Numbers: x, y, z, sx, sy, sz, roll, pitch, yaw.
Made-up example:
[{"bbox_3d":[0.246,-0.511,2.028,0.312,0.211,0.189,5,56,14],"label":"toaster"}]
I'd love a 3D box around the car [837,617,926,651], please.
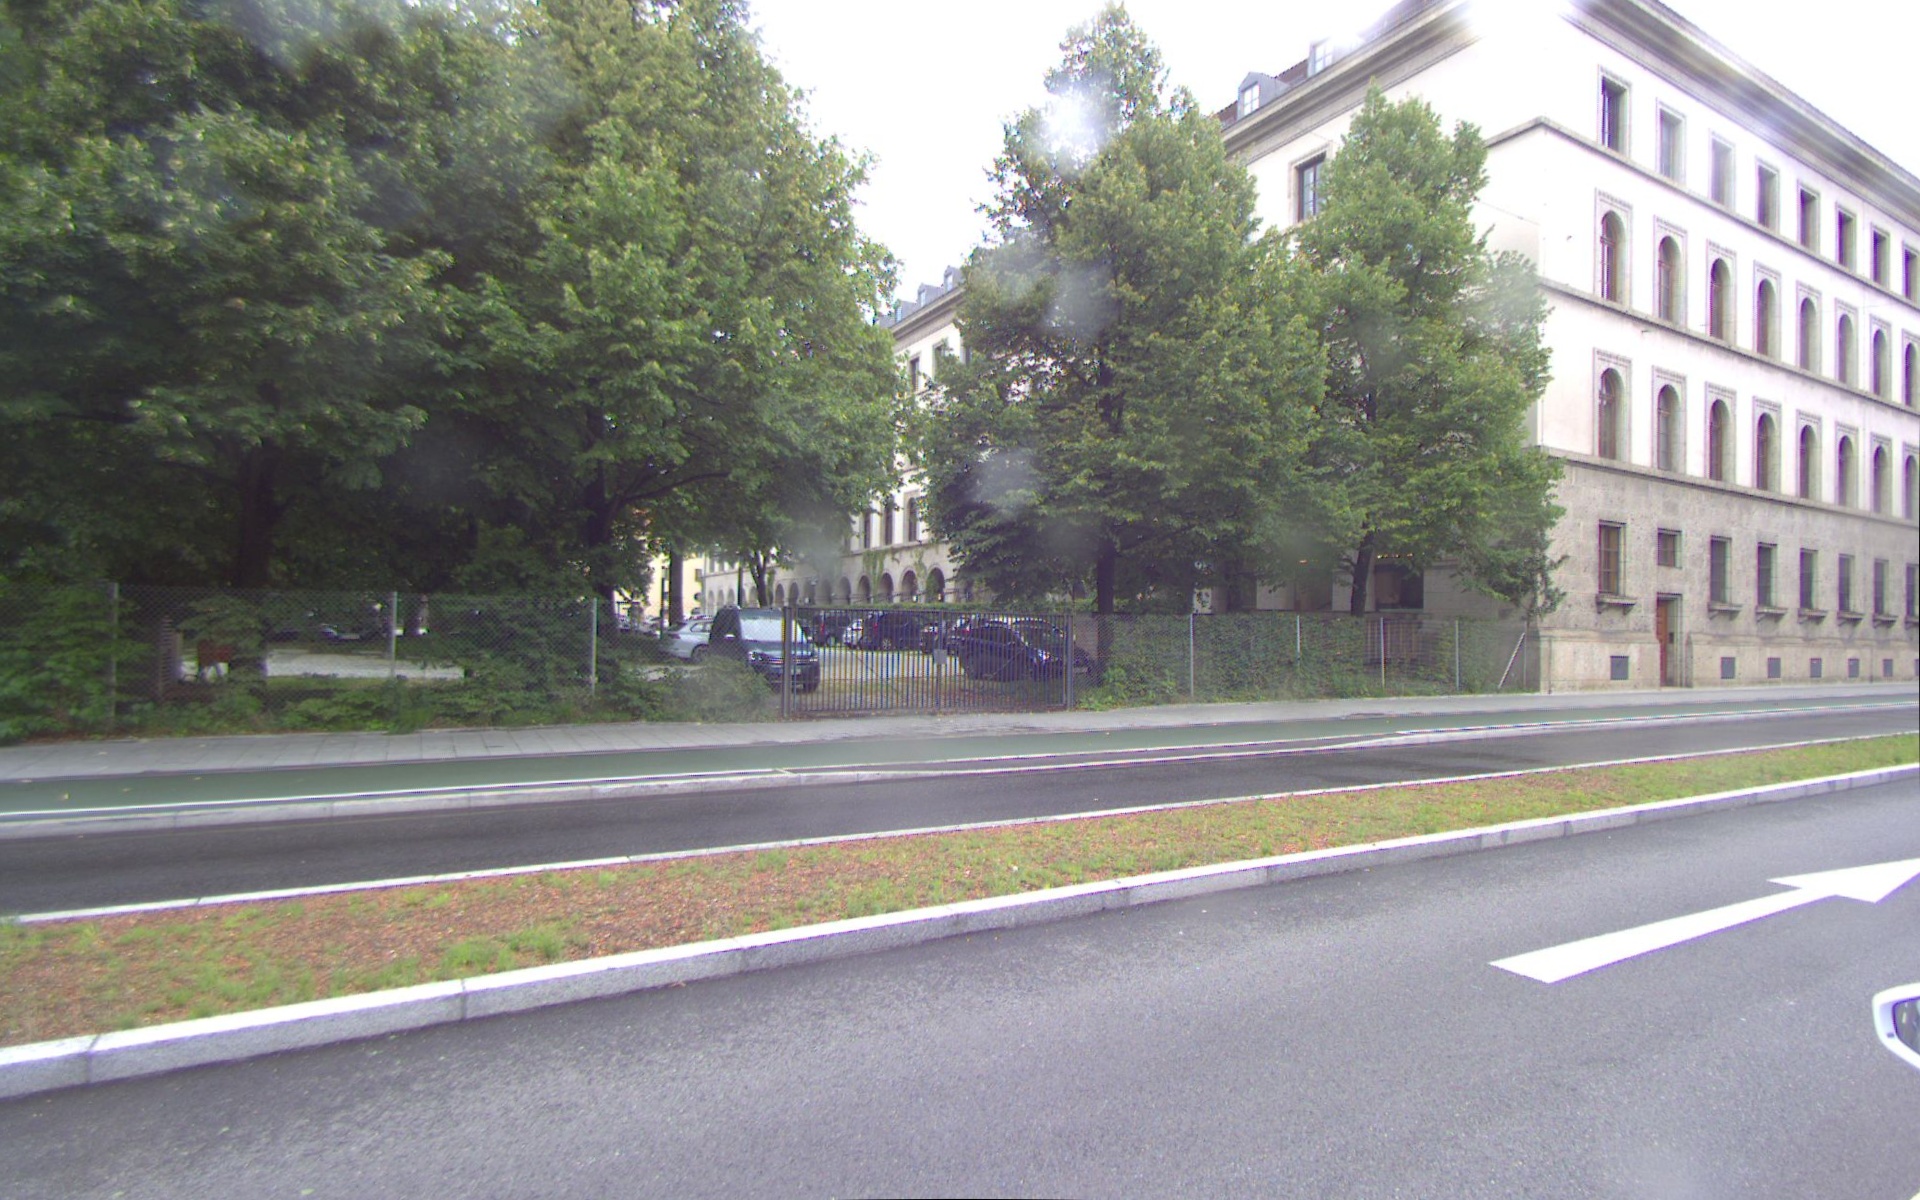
[{"bbox_3d":[-3.835,1.665,49.100,3.954,1.564,1.761,2,-1,-31],"label":"car"}]

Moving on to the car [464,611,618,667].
[{"bbox_3d":[-12.357,1.142,29.689,3.956,1.564,1.761,2,-2,-32],"label":"car"}]

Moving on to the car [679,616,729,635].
[{"bbox_3d":[-22.476,2.264,88.276,3.954,1.564,1.761,2,-1,-31],"label":"car"}]

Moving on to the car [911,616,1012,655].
[{"bbox_3d":[0.088,1.521,42.822,3.954,1.564,1.761,2,-1,-31],"label":"car"}]

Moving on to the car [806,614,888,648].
[{"bbox_3d":[-6.022,1.681,53.637,3.954,1.755,1.761,2,-1,-31],"label":"car"}]

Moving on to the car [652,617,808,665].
[{"bbox_3d":[-7.475,1.336,32.782,4.580,1.460,1.984,2,-2,-31],"label":"car"}]

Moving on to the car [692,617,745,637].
[{"bbox_3d":[-20.106,2.221,83.600,3.954,1.564,1.761,2,-1,-31],"label":"car"}]

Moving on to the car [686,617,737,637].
[{"bbox_3d":[-21.227,2.305,85.801,3.954,1.564,1.761,2,-1,-31],"label":"car"}]

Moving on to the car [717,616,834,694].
[{"bbox_3d":[-4.332,1.200,23.114,1.779,1.609,4.137,1,-2,-23],"label":"car"}]

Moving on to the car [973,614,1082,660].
[{"bbox_3d":[2.607,1.419,38.545,3.954,1.661,1.657,2,-1,-31],"label":"car"}]

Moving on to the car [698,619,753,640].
[{"bbox_3d":[-18.850,2.383,80.873,3.954,1.564,1.761,2,-1,-31],"label":"car"}]

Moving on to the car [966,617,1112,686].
[{"bbox_3d":[1.978,1.302,26.469,1.783,1.671,4.243,1,-2,-30],"label":"car"}]

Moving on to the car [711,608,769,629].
[{"bbox_3d":[-16.945,1.415,77.395,3.954,1.564,1.761,2,-1,-31],"label":"car"}]

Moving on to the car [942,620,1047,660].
[{"bbox_3d":[1.421,1.615,40.747,3.954,1.564,1.761,2,-1,-31],"label":"car"}]

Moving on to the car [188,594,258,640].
[{"bbox_3d":[-29.509,0.703,40.310,1.979,1.742,3.964,2,-2,-33],"label":"car"}]

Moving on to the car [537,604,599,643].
[{"bbox_3d":[-18.466,1.096,47.273,1.978,1.742,3.965,2,-2,-32],"label":"car"}]

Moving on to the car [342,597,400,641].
[{"bbox_3d":[-25.065,0.813,42.657,1.978,1.742,3.965,2,-2,-32],"label":"car"}]

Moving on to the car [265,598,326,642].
[{"bbox_3d":[-27.717,0.831,42.000,1.978,1.742,3.965,2,-2,-32],"label":"car"}]

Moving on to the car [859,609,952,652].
[{"bbox_3d":[-2.554,1.441,47.155,3.949,1.954,1.838,2,-1,-27],"label":"car"}]
